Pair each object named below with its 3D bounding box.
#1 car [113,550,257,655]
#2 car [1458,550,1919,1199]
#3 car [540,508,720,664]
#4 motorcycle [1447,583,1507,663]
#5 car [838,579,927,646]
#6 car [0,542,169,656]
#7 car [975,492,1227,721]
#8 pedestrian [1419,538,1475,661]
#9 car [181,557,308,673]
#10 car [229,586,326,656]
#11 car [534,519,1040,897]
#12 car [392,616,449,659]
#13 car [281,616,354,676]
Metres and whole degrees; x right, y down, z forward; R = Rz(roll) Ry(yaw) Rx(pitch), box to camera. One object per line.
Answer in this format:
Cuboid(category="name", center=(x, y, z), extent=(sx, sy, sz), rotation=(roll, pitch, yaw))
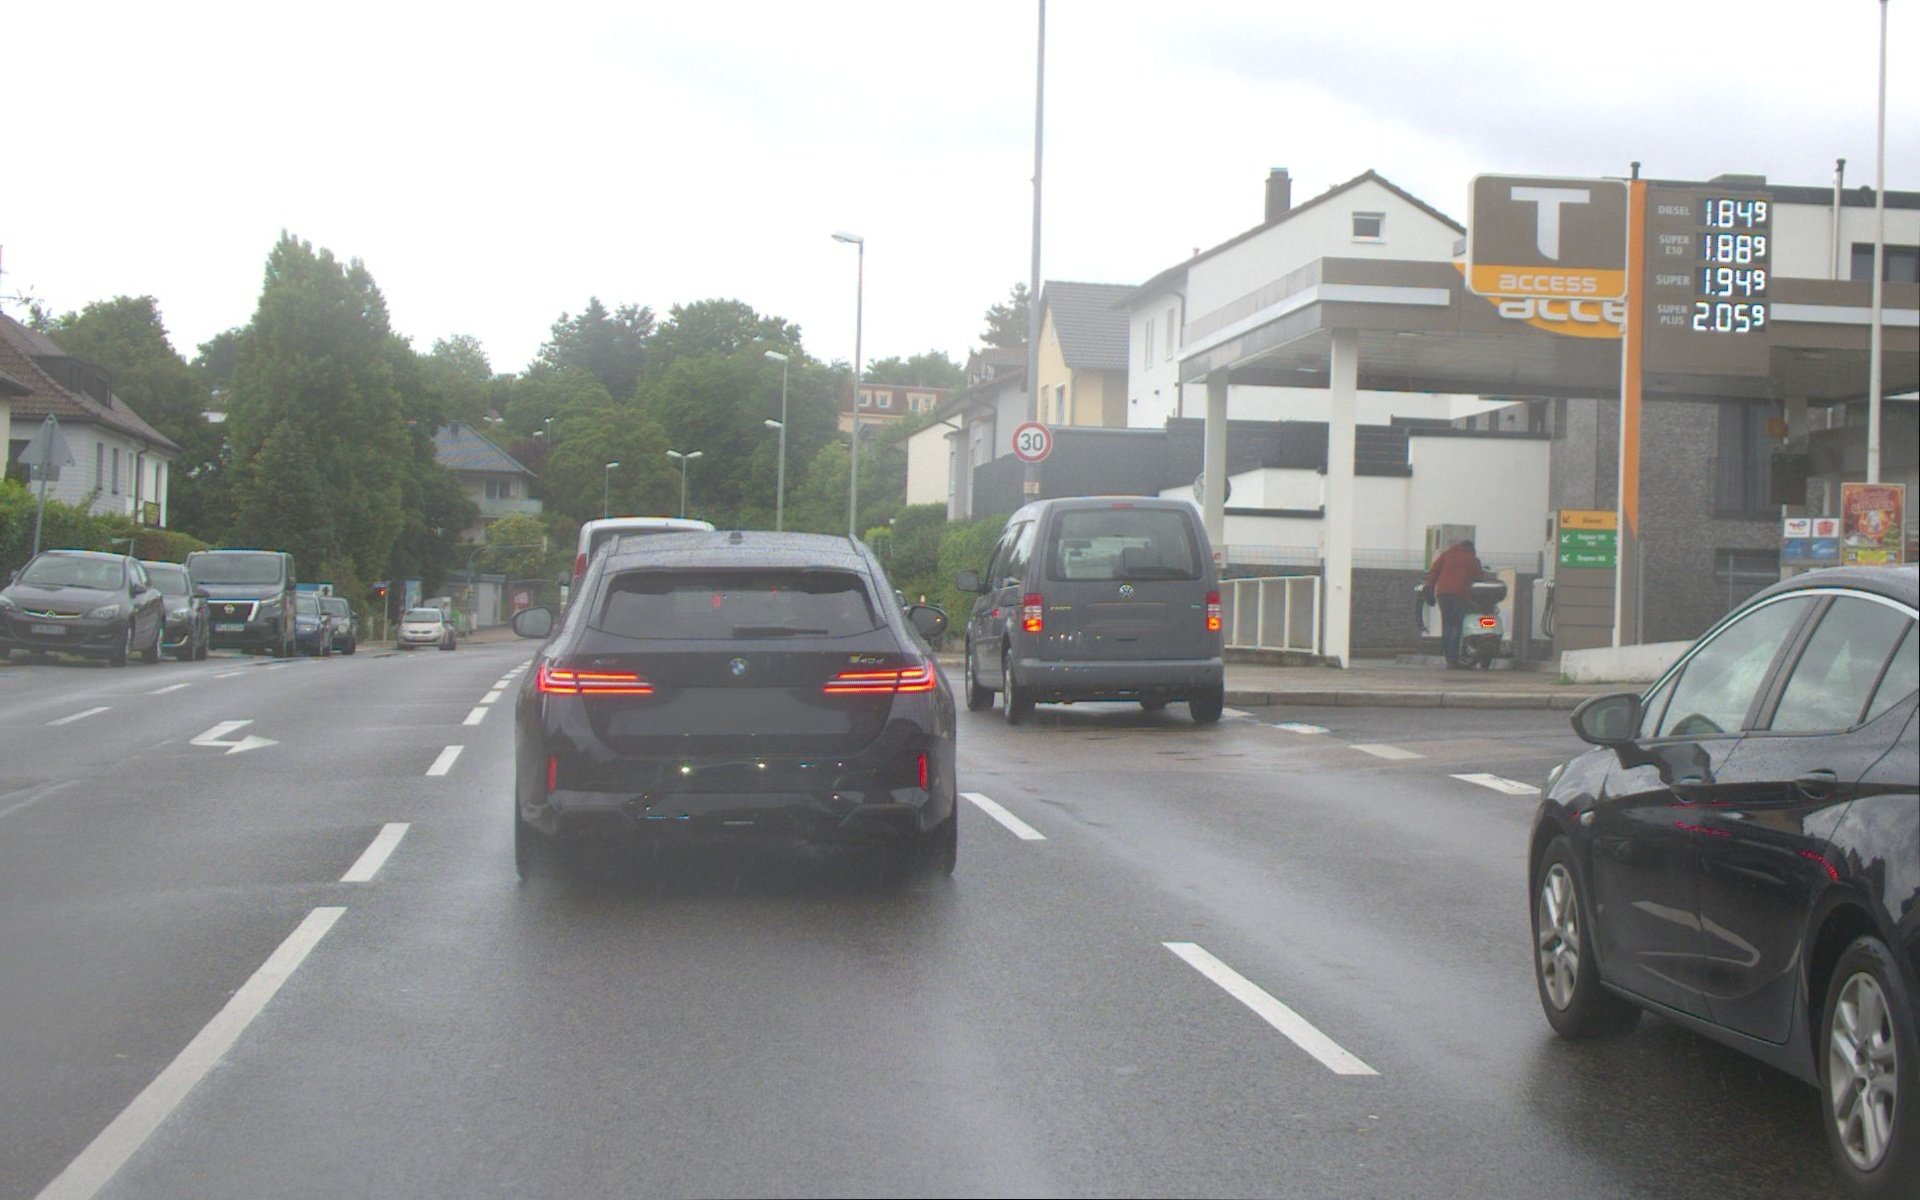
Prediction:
Cuboid(category="car", center=(-11.814, 0.072, 52.619), extent=(1.749, 1.512, 4.528), rotation=(1, -1, -8))
Cuboid(category="car", center=(2.699, 0.614, 8.975), extent=(1.756, 1.444, 4.001), rotation=(1, 1, -7))
Cuboid(category="car", center=(-3.875, -0.131, 40.847), extent=(1.993, 1.732, 4.000), rotation=(1, -1, -4))
Cuboid(category="motorcycle", center=(6.954, 0.312, 46.263), extent=(0.462, 1.052, 1.390), rotation=(1, -1, -6))
Cuboid(category="car", center=(-1.837, 0.311, 80.467), extent=(1.700, 1.505, 4.535), rotation=(1, -1, -6))
Cuboid(category="car", center=(-11.773, 0.012, 45.996), extent=(1.750, 1.435, 4.130), rotation=(1, -1, -5))
Cuboid(category="car", center=(1.106, 0.078, 28.798), extent=(1.838, 1.761, 4.000), rotation=(1, -1, -1))
Cuboid(category="pedestrian", center=(6.576, -0.001, 46.462), extent=(0.609, 1.650, 0.586), rotation=(1, -1, -6))
Cuboid(category="car", center=(-12.997, 0.300, 62.664), extent=(1.912, 1.996, 5.088), rotation=(1, -1, -8))
Cuboid(category="car", center=(-15.412, 0.487, 77.801), extent=(1.757, 1.527, 4.287), rotation=(1, -1, -6))
Cuboid(category="car", center=(-0.859, 0.458, 15.657), extent=(1.993, 1.479, 4.000), rotation=(1, -1, -5))
Cuboid(category="car", center=(-20.456, 1.418, 130.409), extent=(1.884, 1.580, 4.000), rotation=(1, -1, -5))
Cuboid(category="car", center=(-15.713, 1.122, 84.165), extent=(1.550, 1.426, 4.015), rotation=(1, -1, -8))
